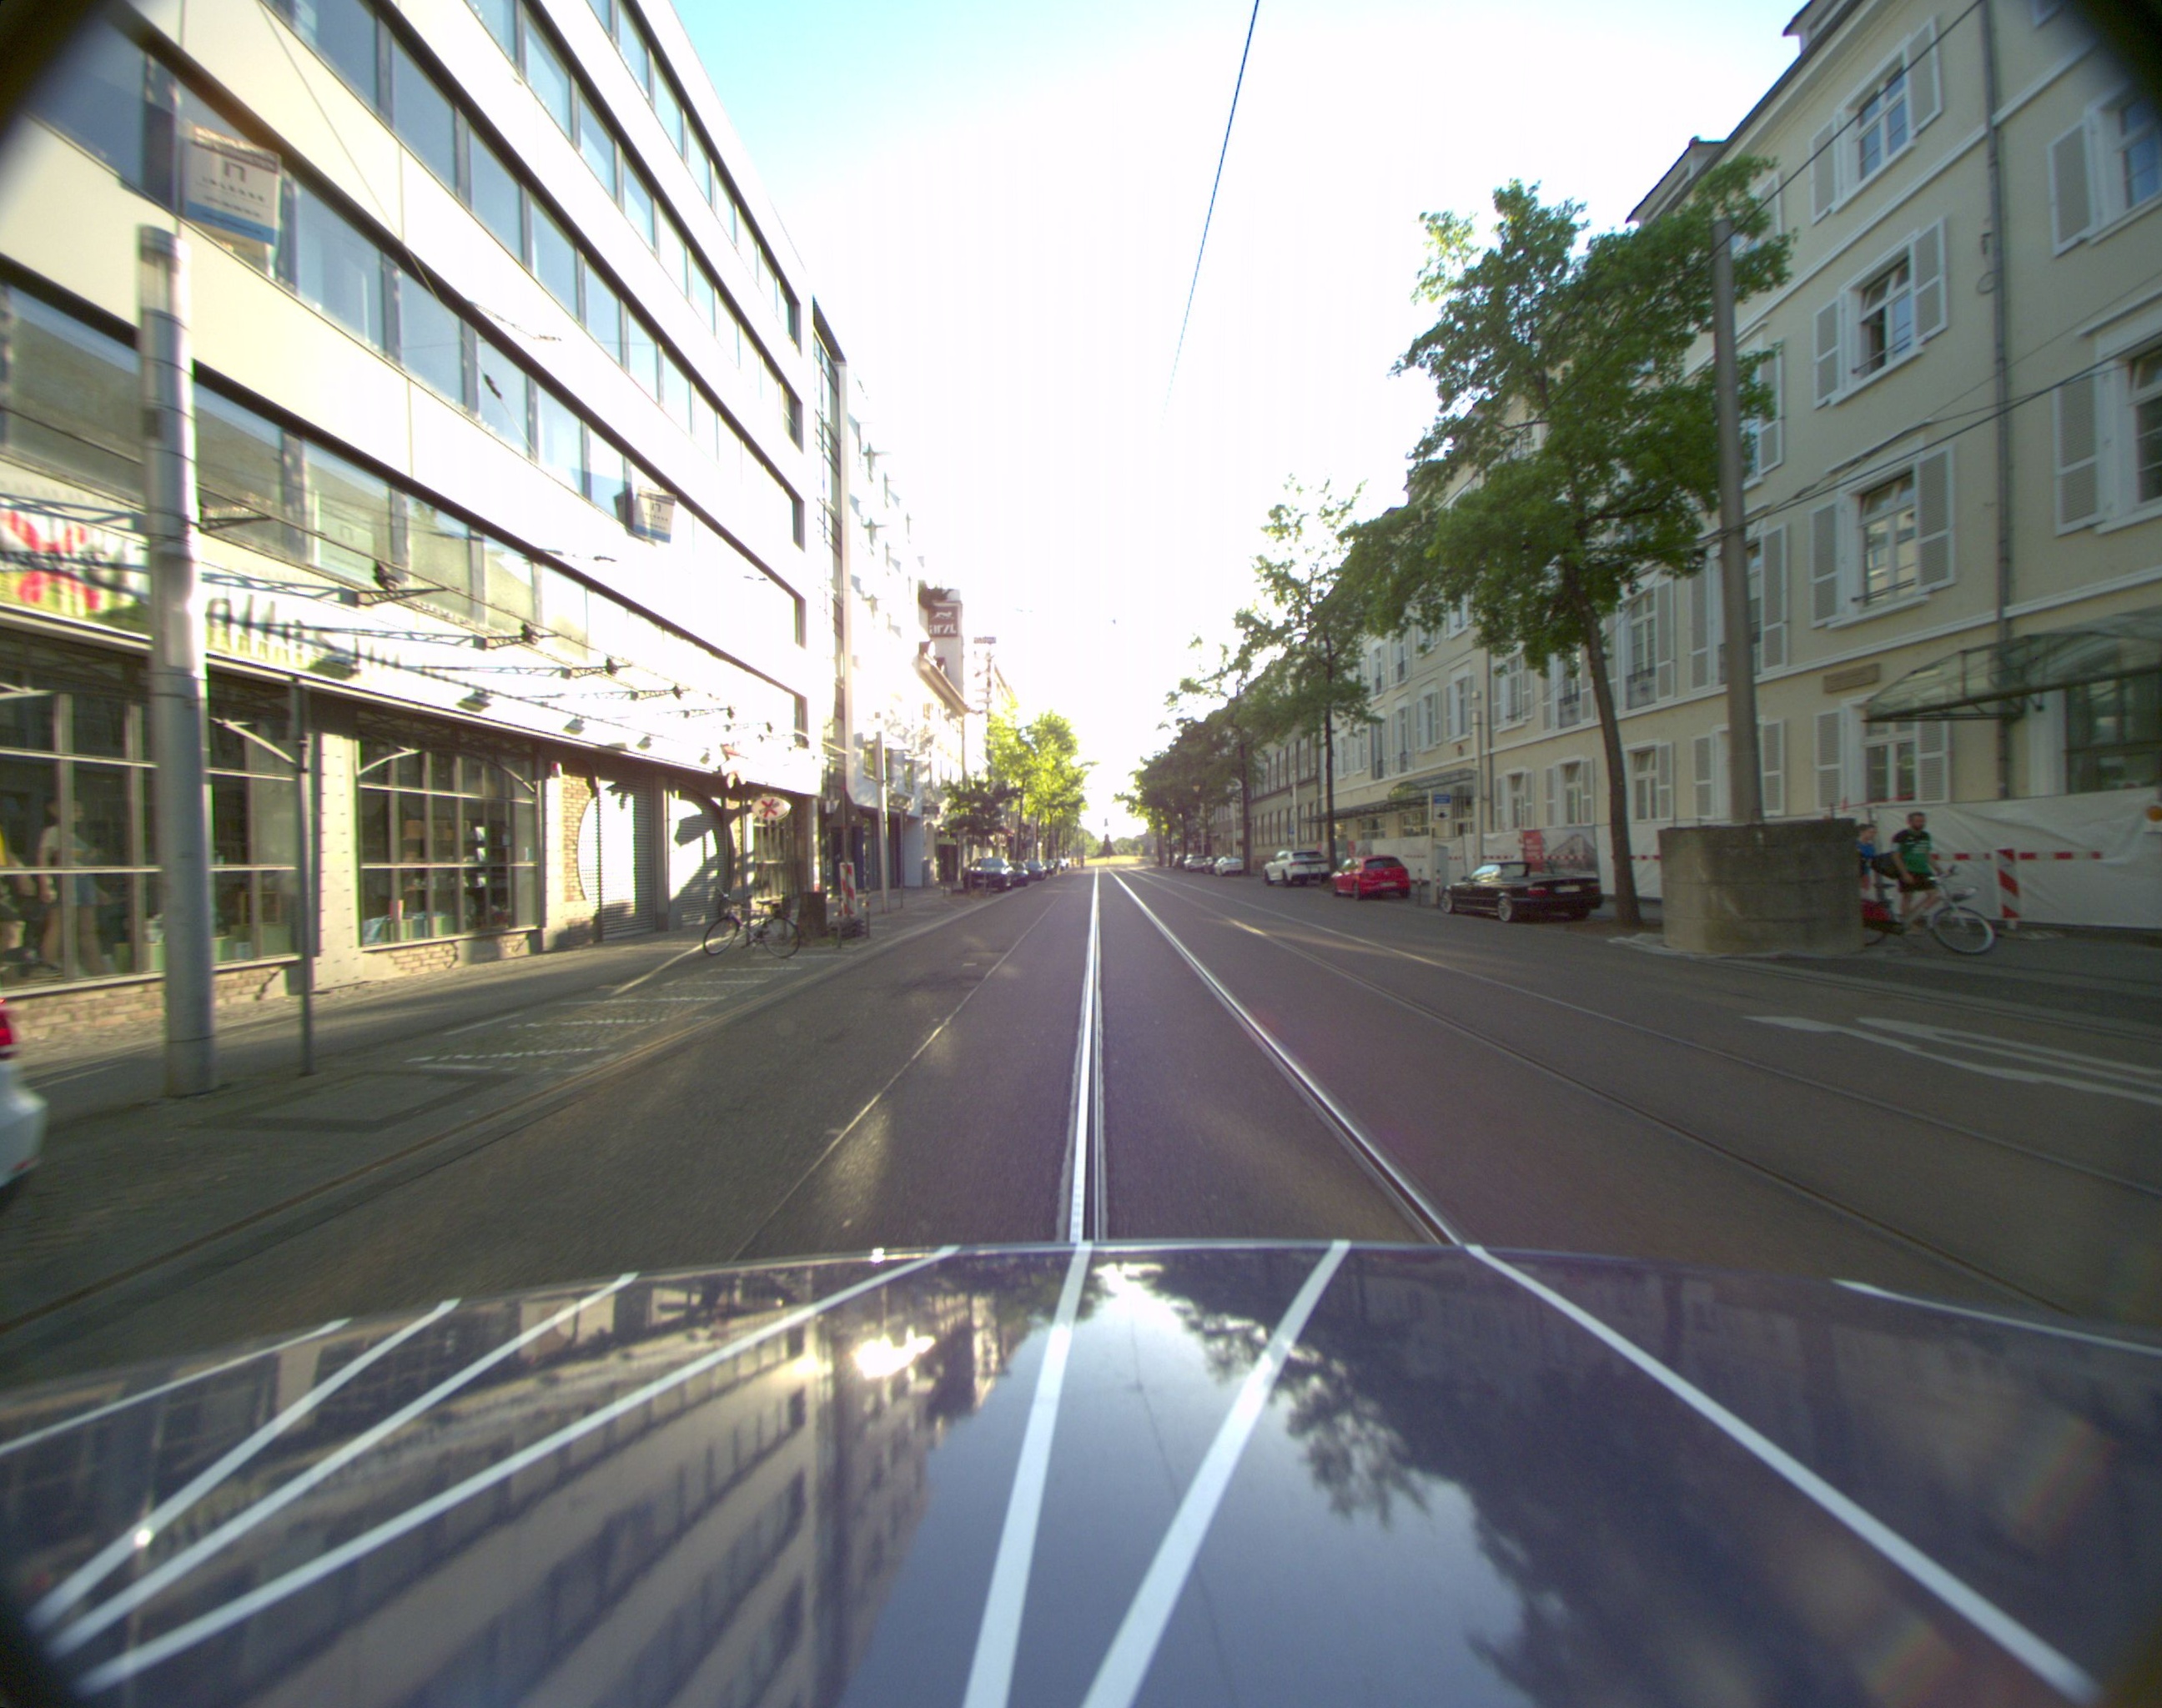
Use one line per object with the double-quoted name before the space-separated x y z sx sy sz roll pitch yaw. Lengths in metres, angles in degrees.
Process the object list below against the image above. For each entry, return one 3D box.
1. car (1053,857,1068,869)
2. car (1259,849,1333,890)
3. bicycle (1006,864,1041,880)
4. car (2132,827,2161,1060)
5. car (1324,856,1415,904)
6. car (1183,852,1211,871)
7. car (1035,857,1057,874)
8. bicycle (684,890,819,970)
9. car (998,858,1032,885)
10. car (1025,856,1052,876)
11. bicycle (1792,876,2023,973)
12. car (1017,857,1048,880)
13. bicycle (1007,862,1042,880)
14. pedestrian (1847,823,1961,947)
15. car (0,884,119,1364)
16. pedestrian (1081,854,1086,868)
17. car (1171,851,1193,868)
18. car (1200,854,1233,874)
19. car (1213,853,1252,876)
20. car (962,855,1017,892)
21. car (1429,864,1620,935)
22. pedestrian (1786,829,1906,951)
"car" -2.583 1.154 96.469 1.564 1.391 3.698 1 0 2
"car" 10.085 0.682 36.009 1.870 1.679 4.950 -4 0 -2
"bicycle" -3.758 1.170 49.706 2.249 0.982 0.615 -1 0 3
"car" 9.263 0.671 3.775 1.862 1.821 4.560 -2 0 3
"car" 9.884 0.838 26.358 1.664 1.397 4.141 -4 0 2
"car" 11.208 0.710 73.700 1.952 1.731 4.766 -4 0 1
"car" -3.312 1.074 72.273 1.798 1.502 3.986 1 0 2
"bicycle" -5.265 1.194 12.208 1.816 1.128 0.841 1 1 9
"car" -3.981 1.011 45.341 1.871 1.502 4.242 1 0 -7
"car" -3.499 0.989 63.606 1.869 1.502 4.287 1 0 2
"bicycle" 11.330 0.915 10.545 0.760 1.115 2.045 -4 0 -10
"car" -3.477 1.032 55.044 1.770 1.502 4.287 -2 0 2
"bicycle" -3.854 1.152 51.852 2.325 1.181 0.751 -1 0 3
"pedestrian" 12.675 0.467 11.734 0.721 1.802 0.876 -4 0 1
"car" -4.926 0.971 0.626 2.028 1.727 4.906 1 0 0
"pedestrian" 0.321 0.896 101.818 0.705 1.858 0.792 -1 0 -1
"car" 11.746 0.654 88.568 1.931 1.946 4.766 -1 0 1
"car" 10.997 0.799 62.103 1.745 1.458 4.342 -4 0 -1
"car" 10.741 0.747 54.157 1.897 1.458 4.617 -4 0 2
"car" -4.417 0.910 37.494 1.985 1.678 4.874 1 0 1
"car" 9.874 0.932 17.403 1.722 1.238 4.508 -4 0 1
"pedestrian" 11.830 0.538 11.781 0.867 1.771 0.884 -4 0 1
